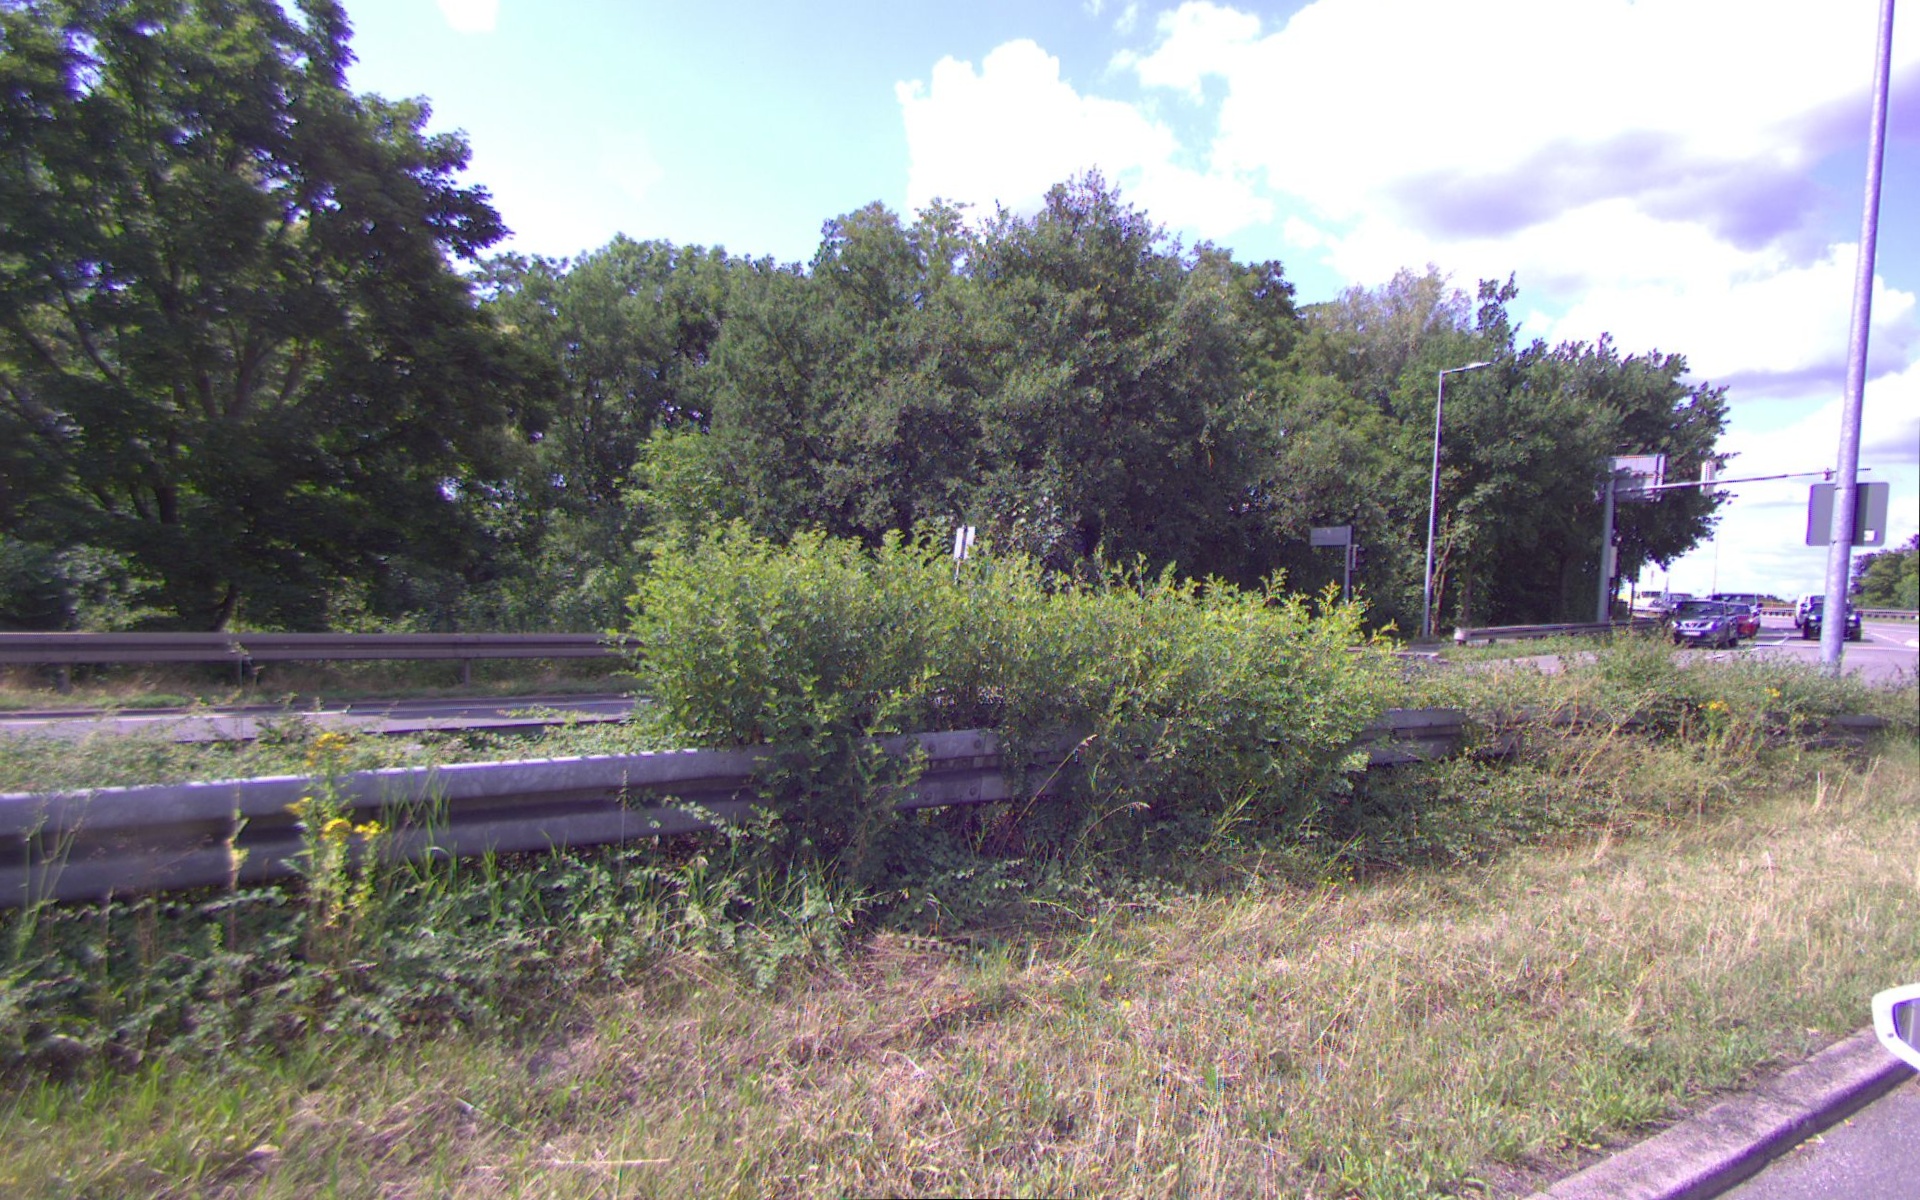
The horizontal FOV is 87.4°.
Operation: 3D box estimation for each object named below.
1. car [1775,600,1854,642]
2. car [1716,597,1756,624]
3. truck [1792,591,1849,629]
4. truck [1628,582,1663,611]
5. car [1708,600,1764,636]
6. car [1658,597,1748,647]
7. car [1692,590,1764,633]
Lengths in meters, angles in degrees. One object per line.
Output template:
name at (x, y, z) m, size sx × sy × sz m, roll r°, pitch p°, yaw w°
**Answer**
car at (35.080, 0.811, 41.328) m, size 1.672 × 1.578 × 3.816 m, roll 1°, pitch 1°, yaw 28°
car at (44.588, 0.591, 57.763) m, size 1.710 × 1.541 × 4.053 m, roll 0°, pitch 0°, yaw 36°
truck at (47.063, 0.505, 55.033) m, size 1.935 × 1.939 × 5.350 m, roll 2°, pitch 1°, yaw 36°
truck at (64.421, -0.322, 94.353) m, size 1.971 × 2.656 × 6.070 m, roll 0°, pitch 1°, yaw 42°
car at (33.232, 0.762, 42.988) m, size 1.564 × 1.451 × 3.977 m, roll 0°, pitch 0°, yaw 43°
car at (25.682, 0.745, 34.656) m, size 4.250 × 1.607 × 1.695 m, roll 1°, pitch -1°, yaw -42°
car at (38.597, 0.585, 50.615) m, size 1.963 × 2.040 × 5.129 m, roll 0°, pitch -1°, yaw 27°
